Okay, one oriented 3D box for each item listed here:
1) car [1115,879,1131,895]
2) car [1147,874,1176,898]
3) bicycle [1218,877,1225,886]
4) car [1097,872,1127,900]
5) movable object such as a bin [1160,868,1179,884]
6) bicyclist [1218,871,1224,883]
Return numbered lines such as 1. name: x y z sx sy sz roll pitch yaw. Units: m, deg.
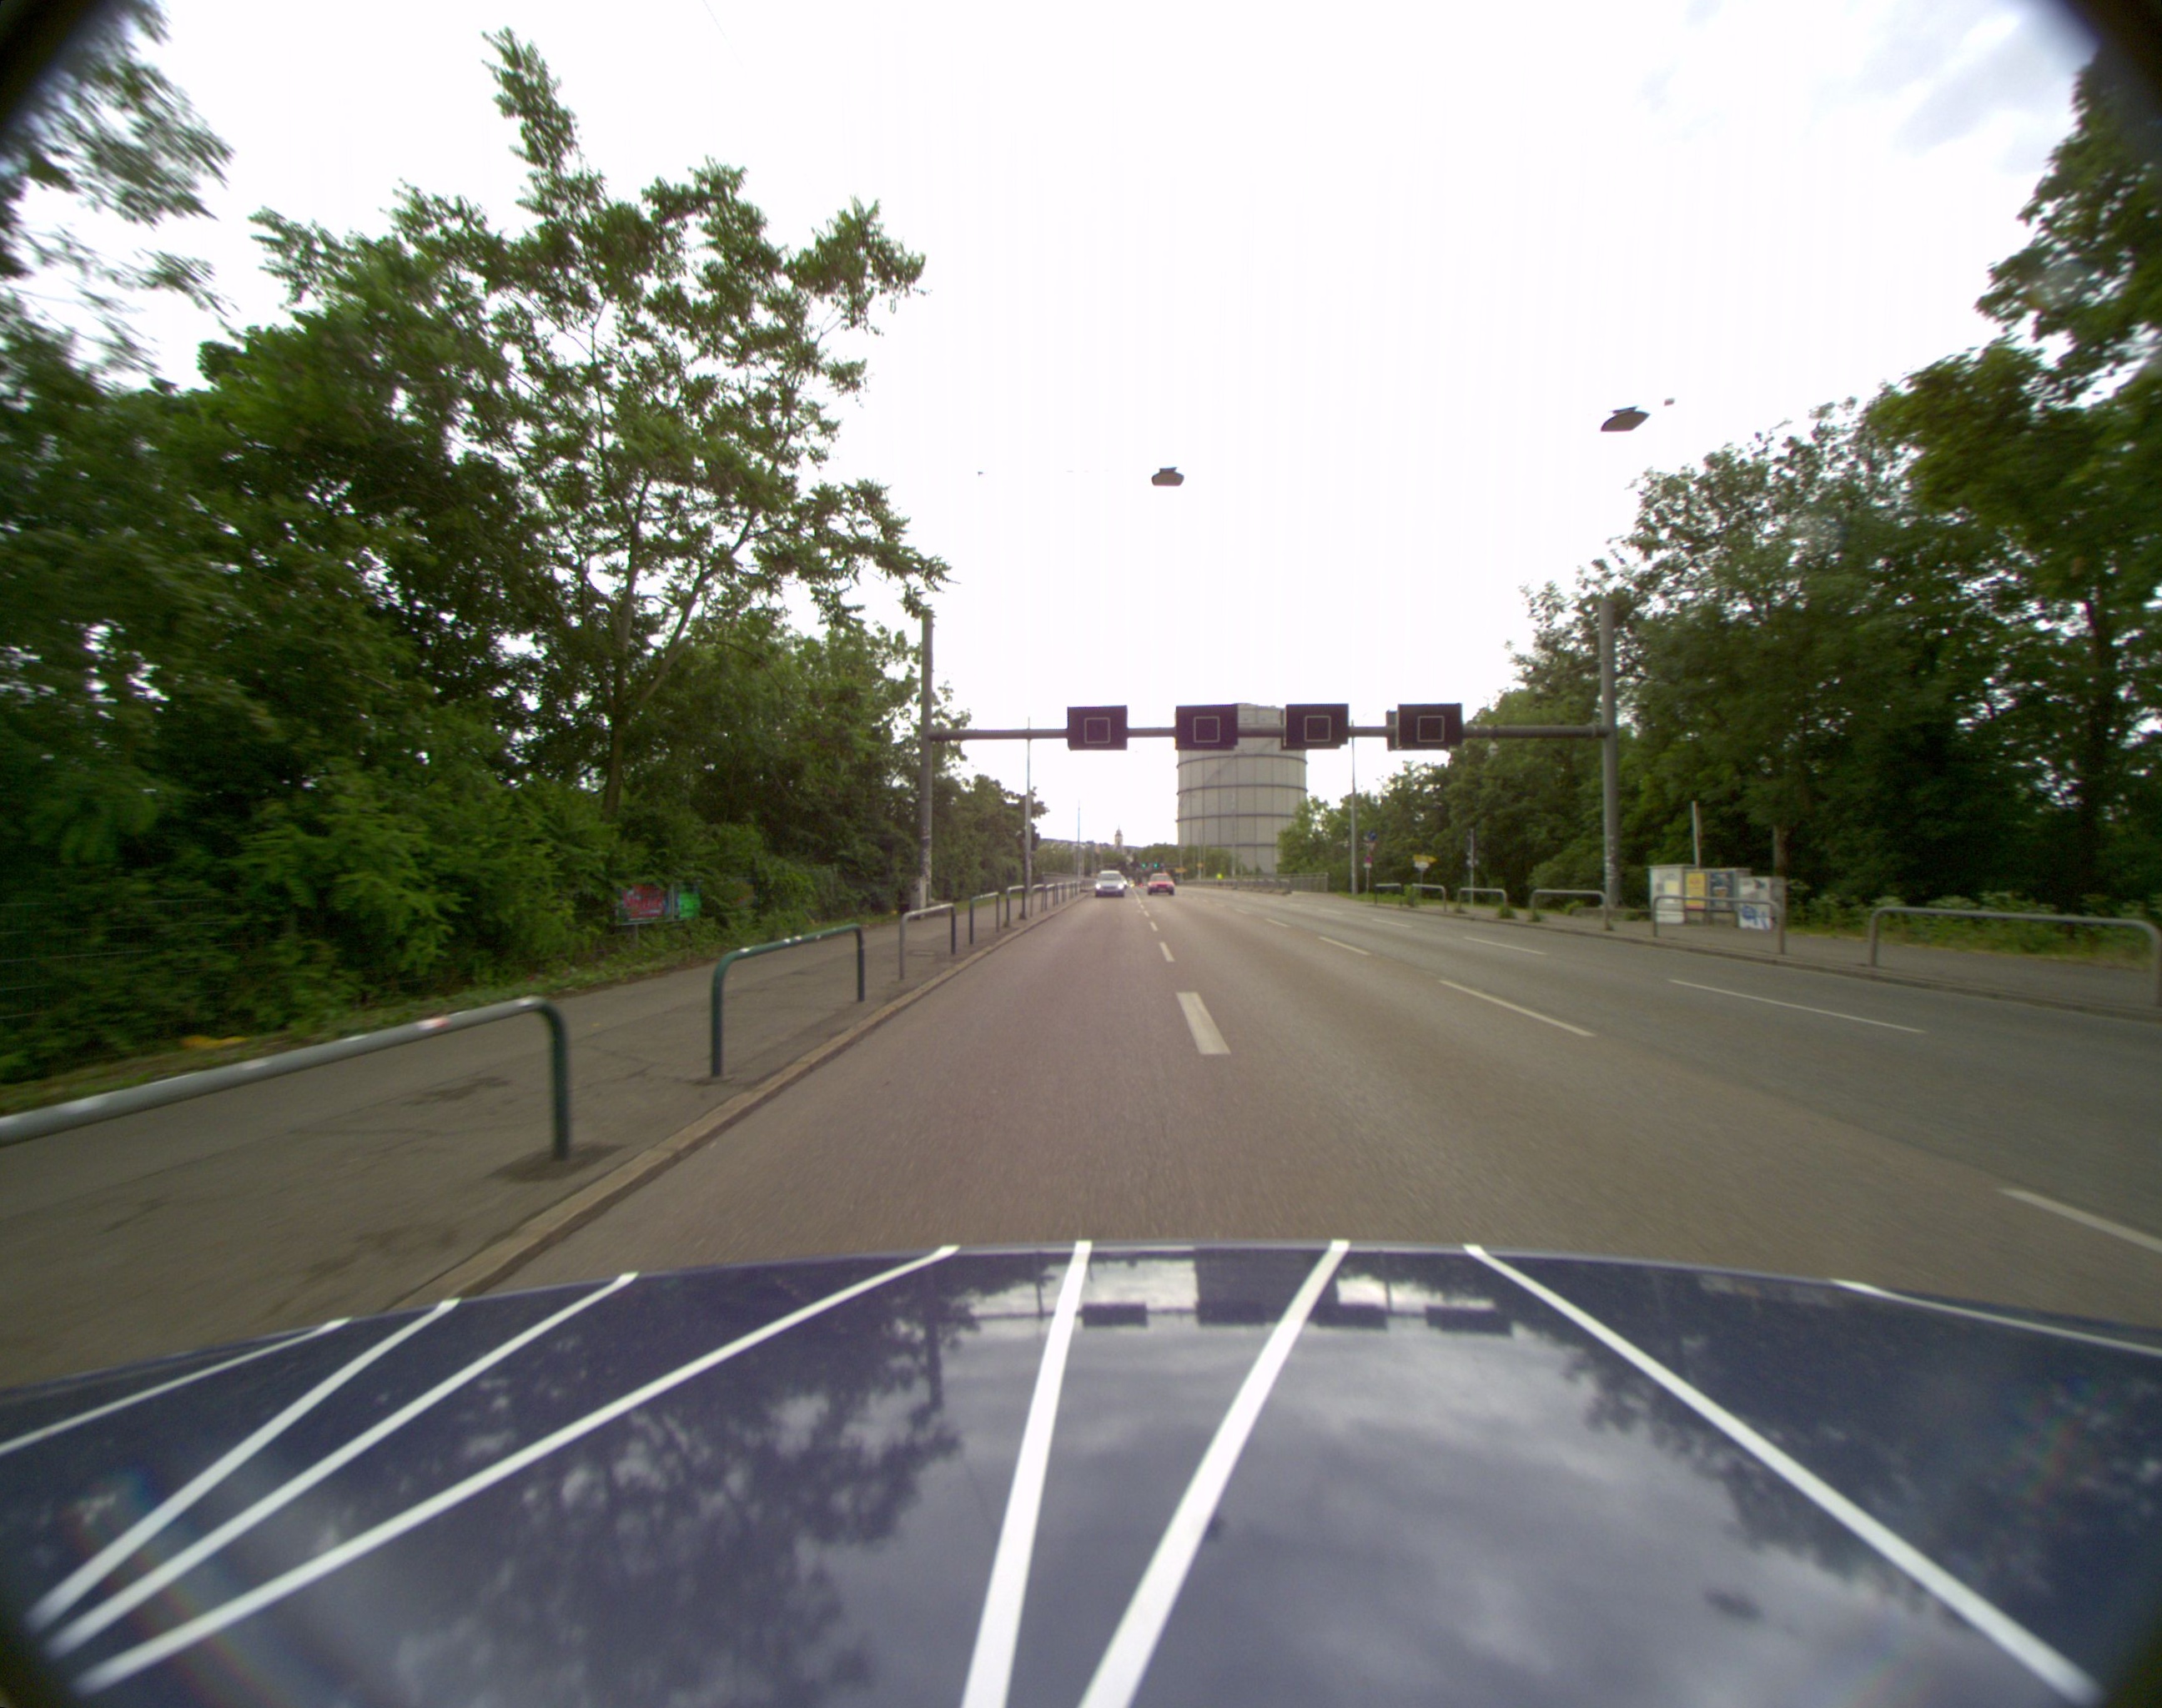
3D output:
1. car: 4.694 3.692 85.666 1.776 1.695 4.001 -1 -1 2
2. car: 5.347 2.117 50.891 1.695 1.434 4.002 1 -1 3
3. bicycle: 18.011 3.459 97.350 0.636 1.057 1.984 -8 -2 6
4. car: 1.963 1.960 47.421 1.771 1.564 4.002 0 -1 4
5. movable object such as a bin: 19.004 4.687 163.202 3.463 3.302 9.363 1 -1 4
6. bicyclist: 17.930 2.966 97.314 0.627 1.467 0.671 -8 -2 5
